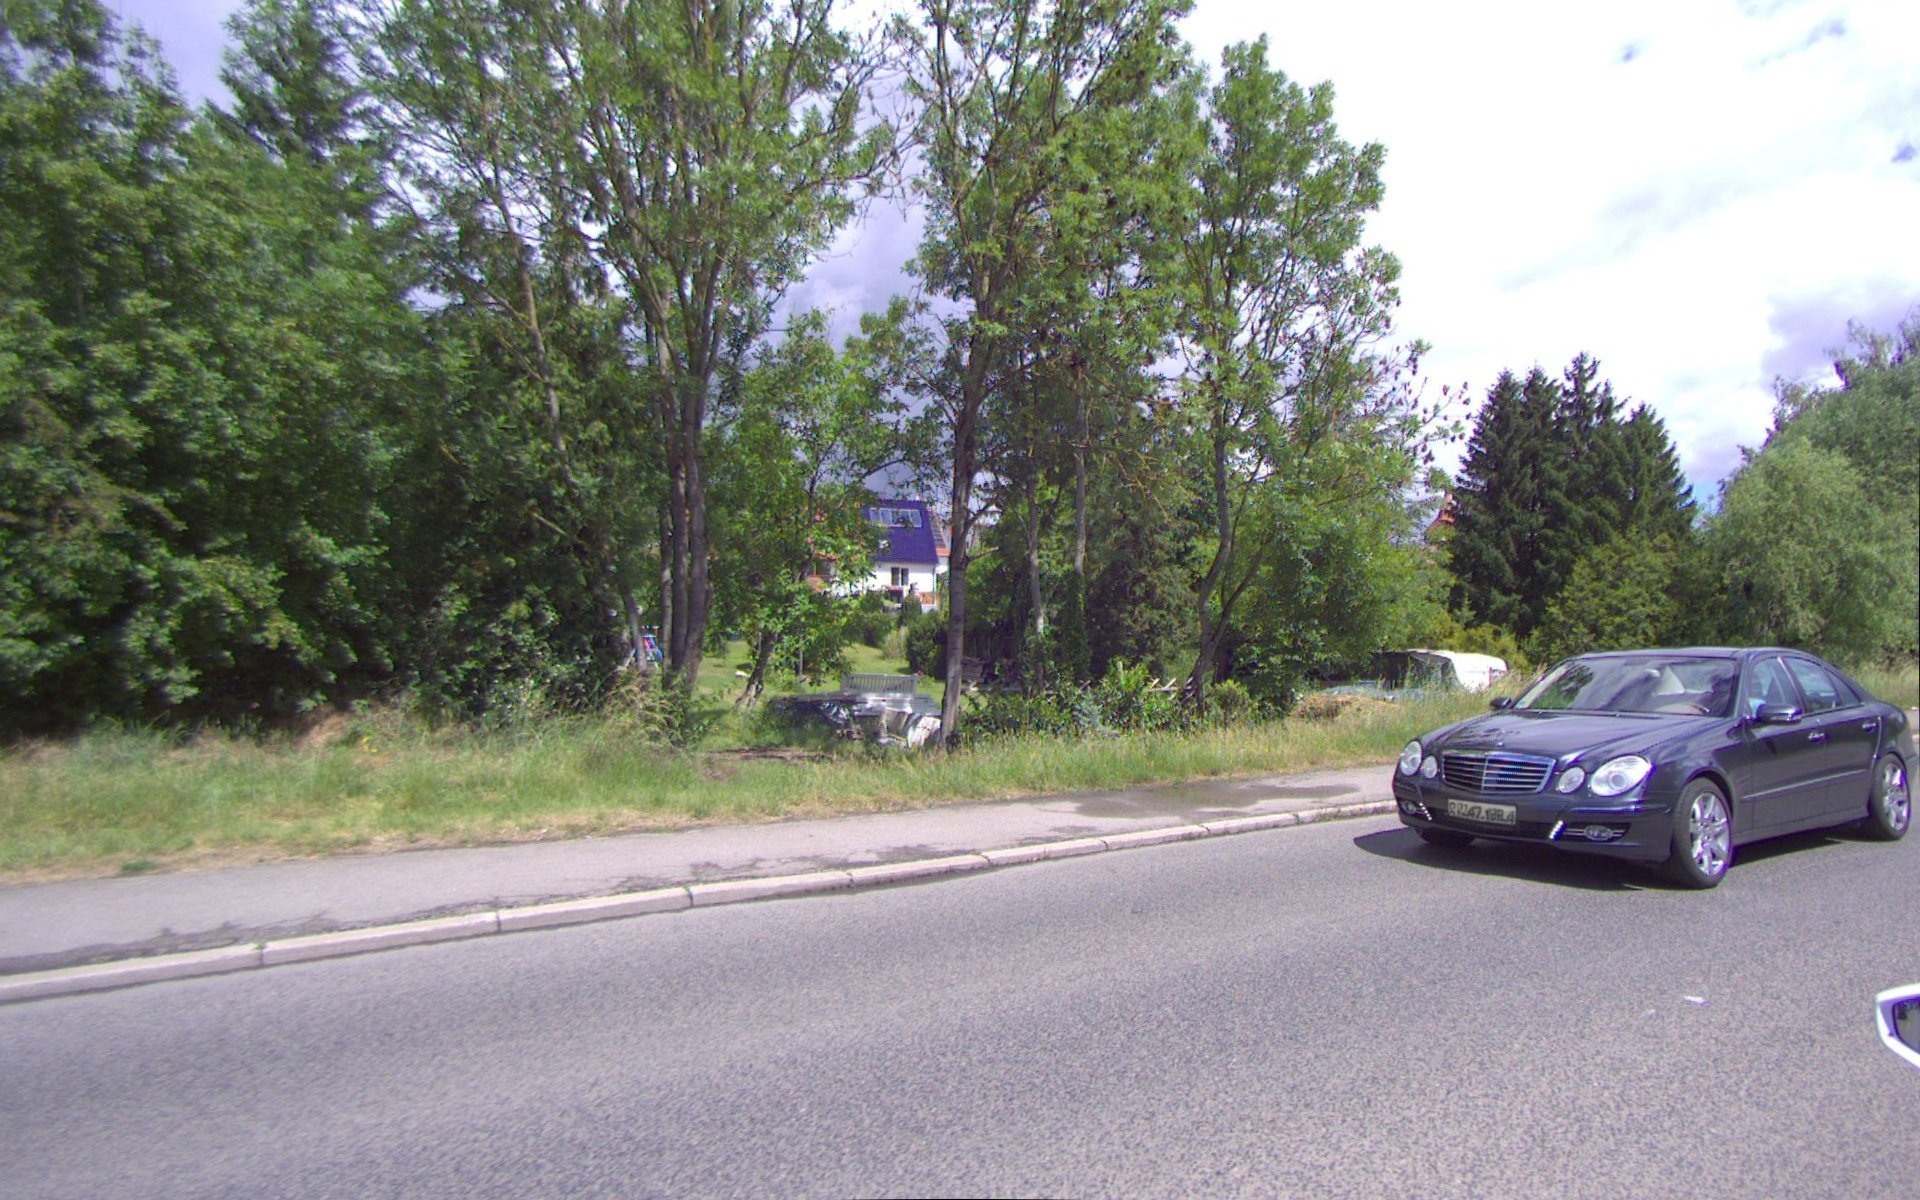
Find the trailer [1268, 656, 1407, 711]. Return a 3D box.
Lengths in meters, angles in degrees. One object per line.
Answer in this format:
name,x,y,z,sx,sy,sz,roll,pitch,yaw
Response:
trailer,11.774,2.580,31.630,1.970,1.576,3.982,1,-4,-21

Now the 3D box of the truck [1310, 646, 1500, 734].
truck,14.605,2.906,33.495,1.970,2.643,6.196,1,-4,-21

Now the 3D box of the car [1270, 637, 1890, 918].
car,4.415,0.968,6.939,4.571,1.351,1.775,1,-3,-32
